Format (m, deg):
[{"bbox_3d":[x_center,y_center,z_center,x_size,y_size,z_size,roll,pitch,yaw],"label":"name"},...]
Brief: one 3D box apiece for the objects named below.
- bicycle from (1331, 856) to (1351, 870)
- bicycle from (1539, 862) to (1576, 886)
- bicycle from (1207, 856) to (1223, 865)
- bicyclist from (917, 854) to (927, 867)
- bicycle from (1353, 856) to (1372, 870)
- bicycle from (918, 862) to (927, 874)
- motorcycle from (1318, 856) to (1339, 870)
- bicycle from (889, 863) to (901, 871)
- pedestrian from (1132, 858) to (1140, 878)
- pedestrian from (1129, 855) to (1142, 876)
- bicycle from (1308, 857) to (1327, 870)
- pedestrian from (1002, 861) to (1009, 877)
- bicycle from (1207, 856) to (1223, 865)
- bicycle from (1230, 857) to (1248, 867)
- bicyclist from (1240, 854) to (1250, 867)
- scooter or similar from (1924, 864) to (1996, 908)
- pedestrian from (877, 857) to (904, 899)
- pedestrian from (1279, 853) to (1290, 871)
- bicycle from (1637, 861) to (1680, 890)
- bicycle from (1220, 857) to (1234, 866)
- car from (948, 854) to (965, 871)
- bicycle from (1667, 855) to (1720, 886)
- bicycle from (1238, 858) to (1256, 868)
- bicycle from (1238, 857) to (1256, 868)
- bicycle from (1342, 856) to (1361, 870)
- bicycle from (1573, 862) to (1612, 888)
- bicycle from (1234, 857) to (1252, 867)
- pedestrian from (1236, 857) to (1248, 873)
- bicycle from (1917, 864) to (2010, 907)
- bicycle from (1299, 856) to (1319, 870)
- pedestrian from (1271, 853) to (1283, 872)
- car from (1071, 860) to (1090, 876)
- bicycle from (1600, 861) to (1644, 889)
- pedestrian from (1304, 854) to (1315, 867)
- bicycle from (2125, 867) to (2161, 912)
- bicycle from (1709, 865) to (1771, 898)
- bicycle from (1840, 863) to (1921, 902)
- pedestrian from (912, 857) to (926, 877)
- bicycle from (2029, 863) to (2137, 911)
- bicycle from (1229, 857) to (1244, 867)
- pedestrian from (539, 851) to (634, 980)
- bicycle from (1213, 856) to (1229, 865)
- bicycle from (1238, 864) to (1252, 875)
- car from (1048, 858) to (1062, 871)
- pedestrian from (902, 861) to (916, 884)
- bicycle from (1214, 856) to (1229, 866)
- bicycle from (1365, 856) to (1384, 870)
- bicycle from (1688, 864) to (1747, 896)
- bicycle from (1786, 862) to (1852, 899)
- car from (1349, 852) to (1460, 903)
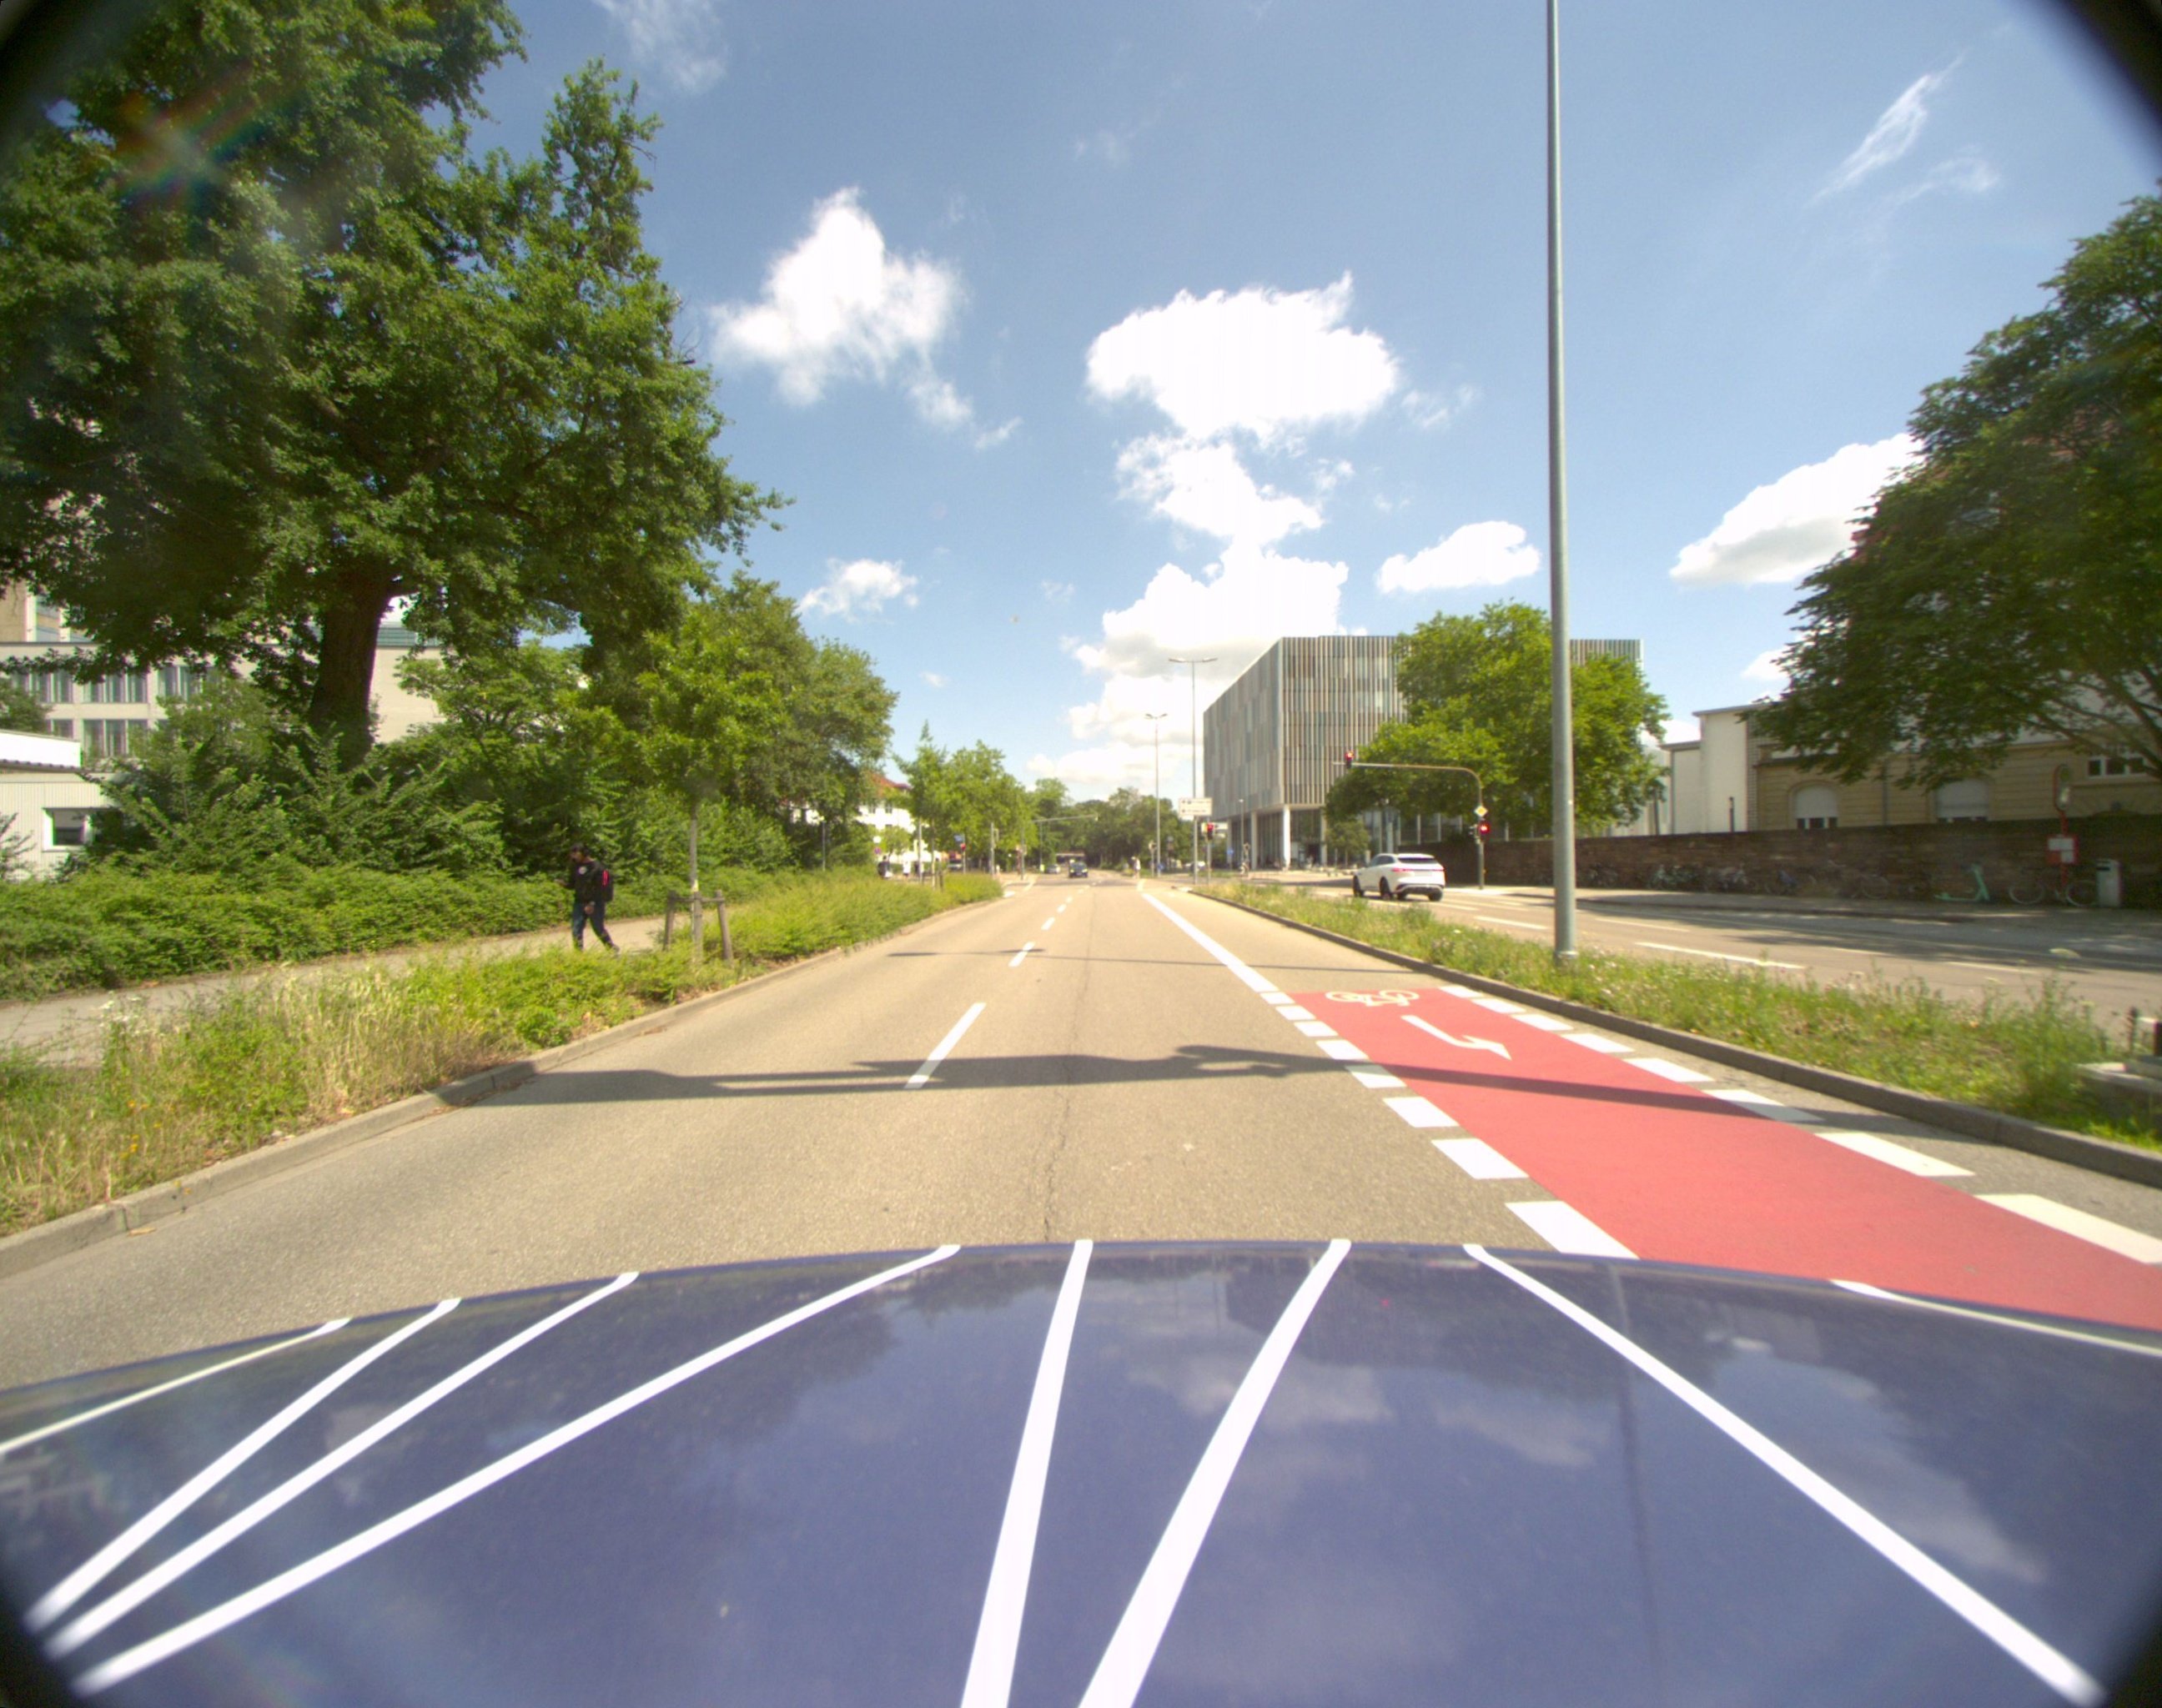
[{"bbox_3d":[29.469,0.981,86.024,1.049,1.543,3.422,-1,0,37],"label":"bicycle"},{"bbox_3d":[22.443,0.950,35.833,0.573,1.092,1.593,-1,0,-8],"label":"bicycle"},{"bbox_3d":[23.078,1.128,130.792,2.511,1.486,0.621,-1,0,1],"label":"bicycle"},{"bbox_3d":[-17.068,0.683,81.679,0.972,1.436,1.075,-1,0,-13],"label":"bicyclist"},{"bbox_3d":[31.138,0.978,84.100,0.997,1.543,3.422,-1,0,37],"label":"bicycle"},{"bbox_3d":[-17.129,1.509,81.957,0.885,1.244,2.163,-1,0,-13],"label":"bicycle"},{"bbox_3d":[28.353,1.014,86.992,3.305,1.630,0.969,0,0,-45],"label":"motorcycle"},{"bbox_3d":[-23.537,1.628,96.166,1.428,0.945,0.352,-1,0,-5],"label":"bicycle"},{"bbox_3d":[5.052,1.324,70.066,0.646,1.815,0.689,-1,0,1],"label":"pedestrian"},{"bbox_3d":[4.994,1.016,69.061,1.108,1.914,0.972,-1,0,6],"label":"pedestrian"},{"bbox_3d":[27.390,1.124,87.947,2.693,1.485,0.930,-1,0,-44],"label":"bicycle"},{"bbox_3d":[-6.923,1.353,69.541,0.591,1.495,0.416,-1,1,-18],"label":"pedestrian"},{"bbox_3d":[23.189,1.120,131.492,2.511,1.486,0.621,-1,0,1],"label":"bicycle"},{"bbox_3d":[23.748,1.250,113.986,2.511,1.486,0.621,-1,0,1],"label":"bicycle"},{"bbox_3d":[14.859,0.578,68.930,0.617,1.219,0.835,-1,0,29],"label":"bicyclist"},{"bbox_3d":[23.825,0.846,20.618,0.433,1.145,1.191,-1,0,-20],"label":"scooter or similar"},{"bbox_3d":[-7.970,0.982,31.811,0.815,1.711,0.929,-1,0,2],"label":"pedestrian"},{"bbox_3d":[21.729,0.811,81.220,0.969,1.914,0.880,-1,0,27],"label":"pedestrian"},{"bbox_3d":[23.240,0.853,30.627,0.413,1.145,1.593,-1,0,-5],"label":"bicycle"},{"bbox_3d":[23.695,1.178,123.418,2.071,1.486,0.621,-1,0,1],"label":"bicycle"},{"bbox_3d":[-15.758,1.046,96.197,2.000,2.042,4.226,-1,0,-8],"label":"car"},{"bbox_3d":[23.346,0.619,28.989,0.403,1.145,1.591,-1,0,-22],"label":"bicycle"},{"bbox_3d":[24.038,1.276,110.297,2.451,1.486,0.621,-1,0,1],"label":"bicycle"},{"bbox_3d":[24.328,1.264,111.302,2.509,1.486,0.730,-1,0,11],"label":"bicycle"},{"bbox_3d":[30.199,0.980,84.767,0.997,1.543,3.422,-1,0,37],"label":"bicycle"},{"bbox_3d":[22.814,0.916,33.919,0.500,1.145,1.593,-1,0,-8],"label":"bicycle"},{"bbox_3d":[24.493,1.235,114.882,2.511,1.486,0.621,-1,0,1],"label":"bicycle"},{"bbox_3d":[16.628,1.140,78.494,0.972,1.619,0.878,-1,0,-12],"label":"pedestrian"},{"bbox_3d":[24.465,0.843,21.095,0.534,1.145,1.591,-1,0,-21],"label":"bicycle"},{"bbox_3d":[26.625,1.044,88.682,0.808,1.634,3.422,-1,0,42],"label":"bicycle"},{"bbox_3d":[20.351,0.853,78.939,0.969,1.914,0.881,-1,1,33],"label":"pedestrian"},{"bbox_3d":[-0.085,1.477,79.975,1.846,1.593,3.999,-1,0,-2],"label":"car"},{"bbox_3d":[22.945,0.882,32.250,0.623,1.145,1.593,-1,0,-8],"label":"bicycle"},{"bbox_3d":[28.922,0.841,96.125,1.011,1.697,1.213,-1,0,35],"label":"pedestrian"},{"bbox_3d":[25.160,0.818,17.189,0.482,1.002,1.800,-1,0,-8],"label":"bicycle"},{"bbox_3d":[23.304,0.960,26.902,0.403,1.145,1.590,-1,0,-32],"label":"bicycle"},{"bbox_3d":[23.990,0.835,22.836,0.534,1.145,1.591,-1,0,-21],"label":"bicycle"},{"bbox_3d":[-15.821,1.258,74.104,1.030,1.914,0.973,-1,0,10],"label":"pedestrian"},{"bbox_3d":[24.865,0.787,18.893,0.433,1.136,1.593,-1,0,-12],"label":"bicycle"},{"bbox_3d":[23.906,1.225,117.081,2.200,1.486,0.621,-1,0,1],"label":"bicycle"},{"bbox_3d":[-6.817,0.815,10.506,0.718,1.711,0.837,-1,0,2],"label":"pedestrian"},{"bbox_3d":[23.380,1.152,127.096,2.511,1.486,0.621,-1,0,1],"label":"bicycle"},{"bbox_3d":[14.878,1.419,69.001,0.646,0.992,2.167,-1,0,27],"label":"bicycle"},{"bbox_3d":[-3.884,1.536,111.514,1.913,1.772,3.999,-1,0,-3],"label":"car"},{"bbox_3d":[-13.704,1.472,60.557,0.878,1.861,0.971,-1,0,-4],"label":"pedestrian"},{"bbox_3d":[23.285,1.162,125.983,2.511,1.486,0.621,-1,0,1],"label":"bicycle"},{"bbox_3d":[32.133,0.978,83.083,0.997,1.543,3.422,-1,0,37],"label":"bicycle"},{"bbox_3d":[23.371,0.951,27.927,0.403,1.145,1.590,-1,0,-32],"label":"bicycle"},{"bbox_3d":[23.889,0.840,24.636,0.403,1.145,1.593,-1,0,-11],"label":"bicycle"},{"bbox_3d":[11.545,0.795,27.517,2.076,1.657,4.776,-1,0,2],"label":"car"}]
